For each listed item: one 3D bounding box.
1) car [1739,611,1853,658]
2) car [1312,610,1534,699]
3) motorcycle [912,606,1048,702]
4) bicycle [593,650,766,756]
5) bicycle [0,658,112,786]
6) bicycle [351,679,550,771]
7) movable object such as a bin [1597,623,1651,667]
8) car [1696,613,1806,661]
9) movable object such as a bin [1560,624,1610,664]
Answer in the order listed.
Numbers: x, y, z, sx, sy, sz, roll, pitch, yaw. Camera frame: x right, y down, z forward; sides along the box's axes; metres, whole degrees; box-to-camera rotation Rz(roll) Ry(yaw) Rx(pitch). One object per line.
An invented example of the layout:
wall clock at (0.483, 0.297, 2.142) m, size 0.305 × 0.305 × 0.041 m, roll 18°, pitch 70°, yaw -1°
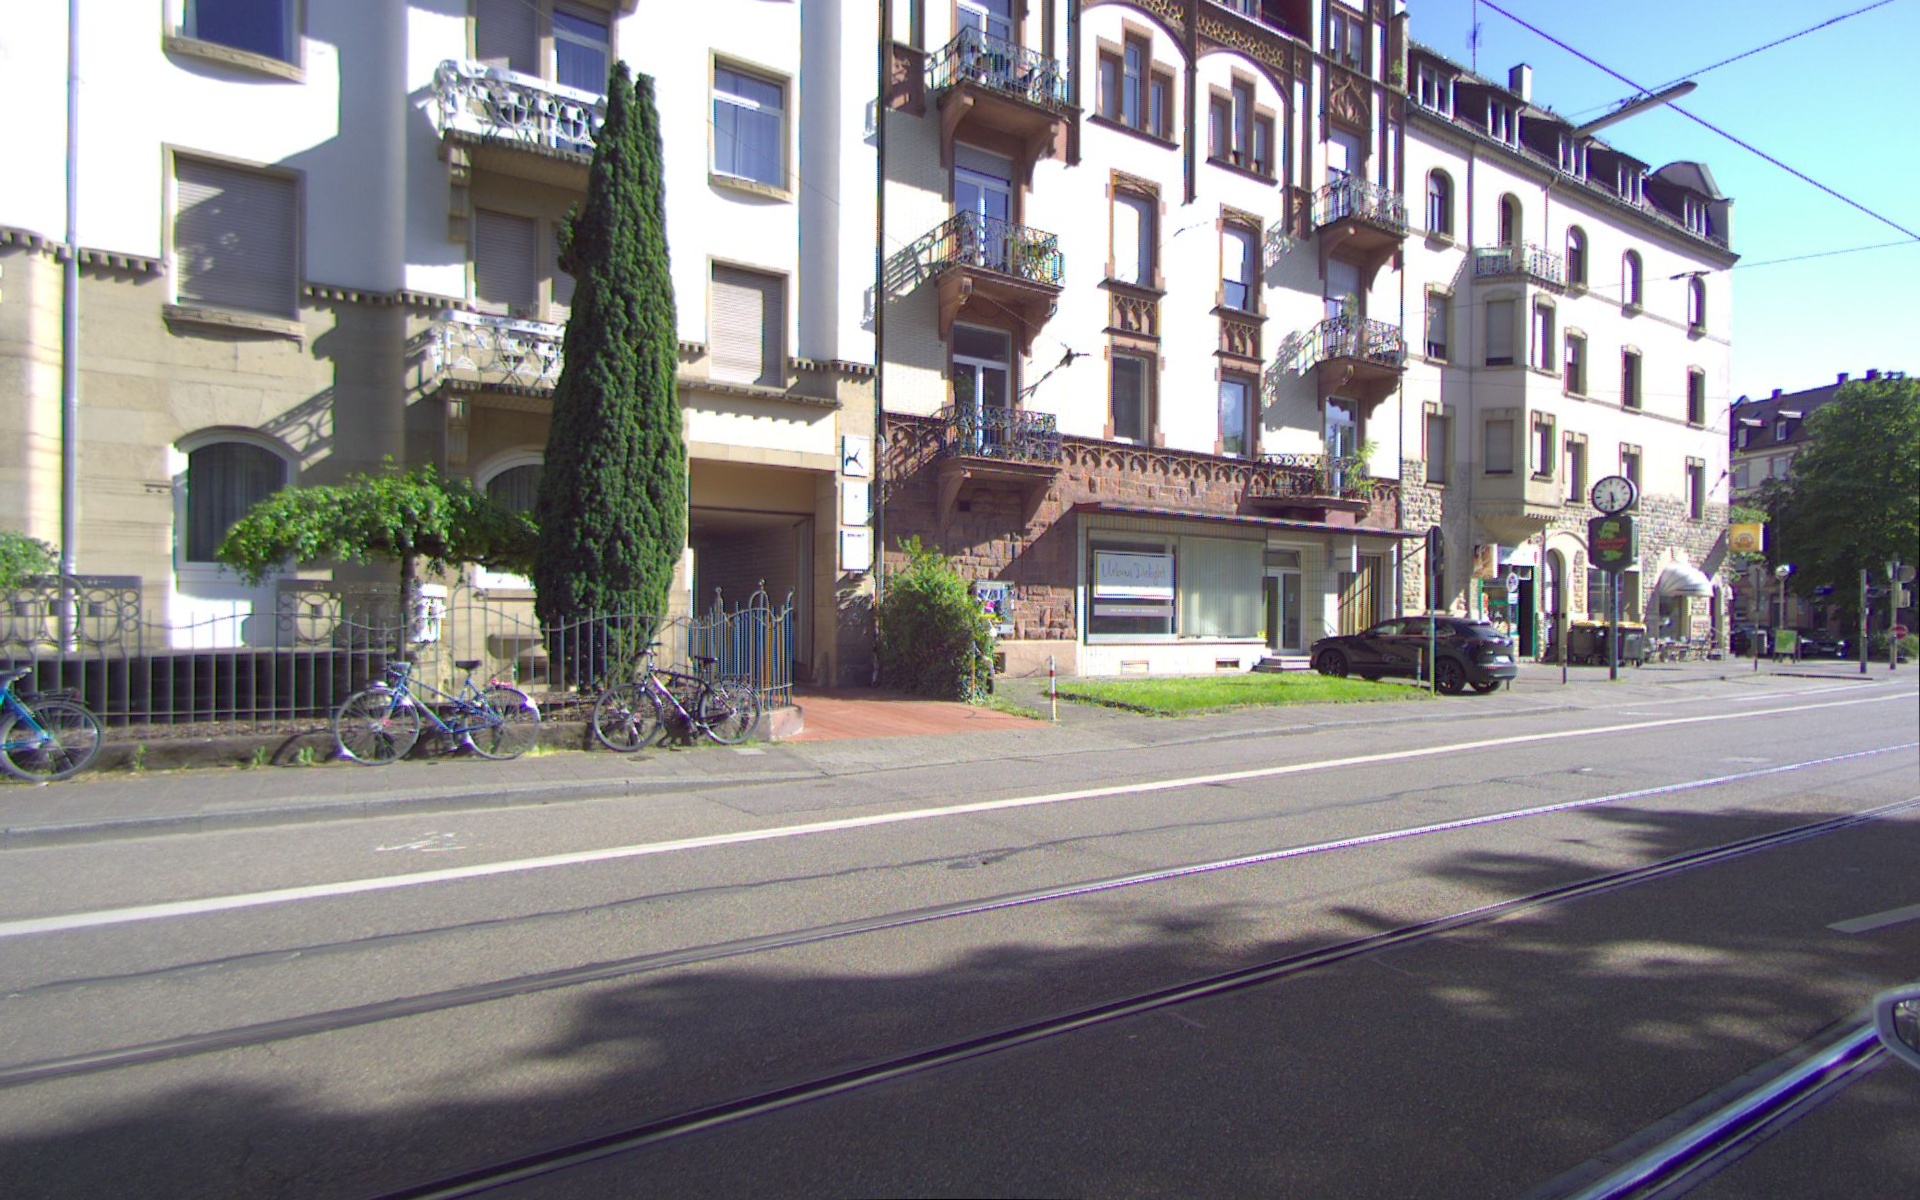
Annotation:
car at (39.312, 1.591, 47.375) m, size 1.961 × 2.040 × 3.999 m, roll 2°, pitch 0°, yaw -1°
car at (9.860, 1.102, 21.652) m, size 1.755 × 1.523 × 3.958 m, roll 2°, pitch 1°, yaw -36°
motorcycle at (0.274, 0.888, 17.627) m, size 0.814 × 1.476 × 3.067 m, roll 2°, pitch 0°, yaw -32°
bicycle at (-3.004, 1.082, 10.844) m, size 1.728 × 1.053 × 0.402 m, roll 2°, pitch 0°, yaw -31°
bicycle at (-7.706, 0.940, 7.738) m, size 1.728 × 0.955 × 0.402 m, roll 2°, pitch 0°, yaw -31°
bicycle at (-4.761, 1.153, 9.459) m, size 1.633 × 0.772 × 0.316 m, roll 2°, pitch 0°, yaw -31°
movable object such as a bin at (20.735, 1.400, 31.367) m, size 1.128 × 1.290 × 0.942 m, roll 2°, pitch 0°, yaw -26°
car at (37.064, 1.698, 47.199) m, size 1.961 × 2.040 × 3.999 m, roll 2°, pitch 0°, yaw -1°
movable object such as a bin at (19.876, 1.393, 31.931) m, size 1.228 × 1.239 × 0.829 m, roll 2°, pitch 0°, yaw -28°
